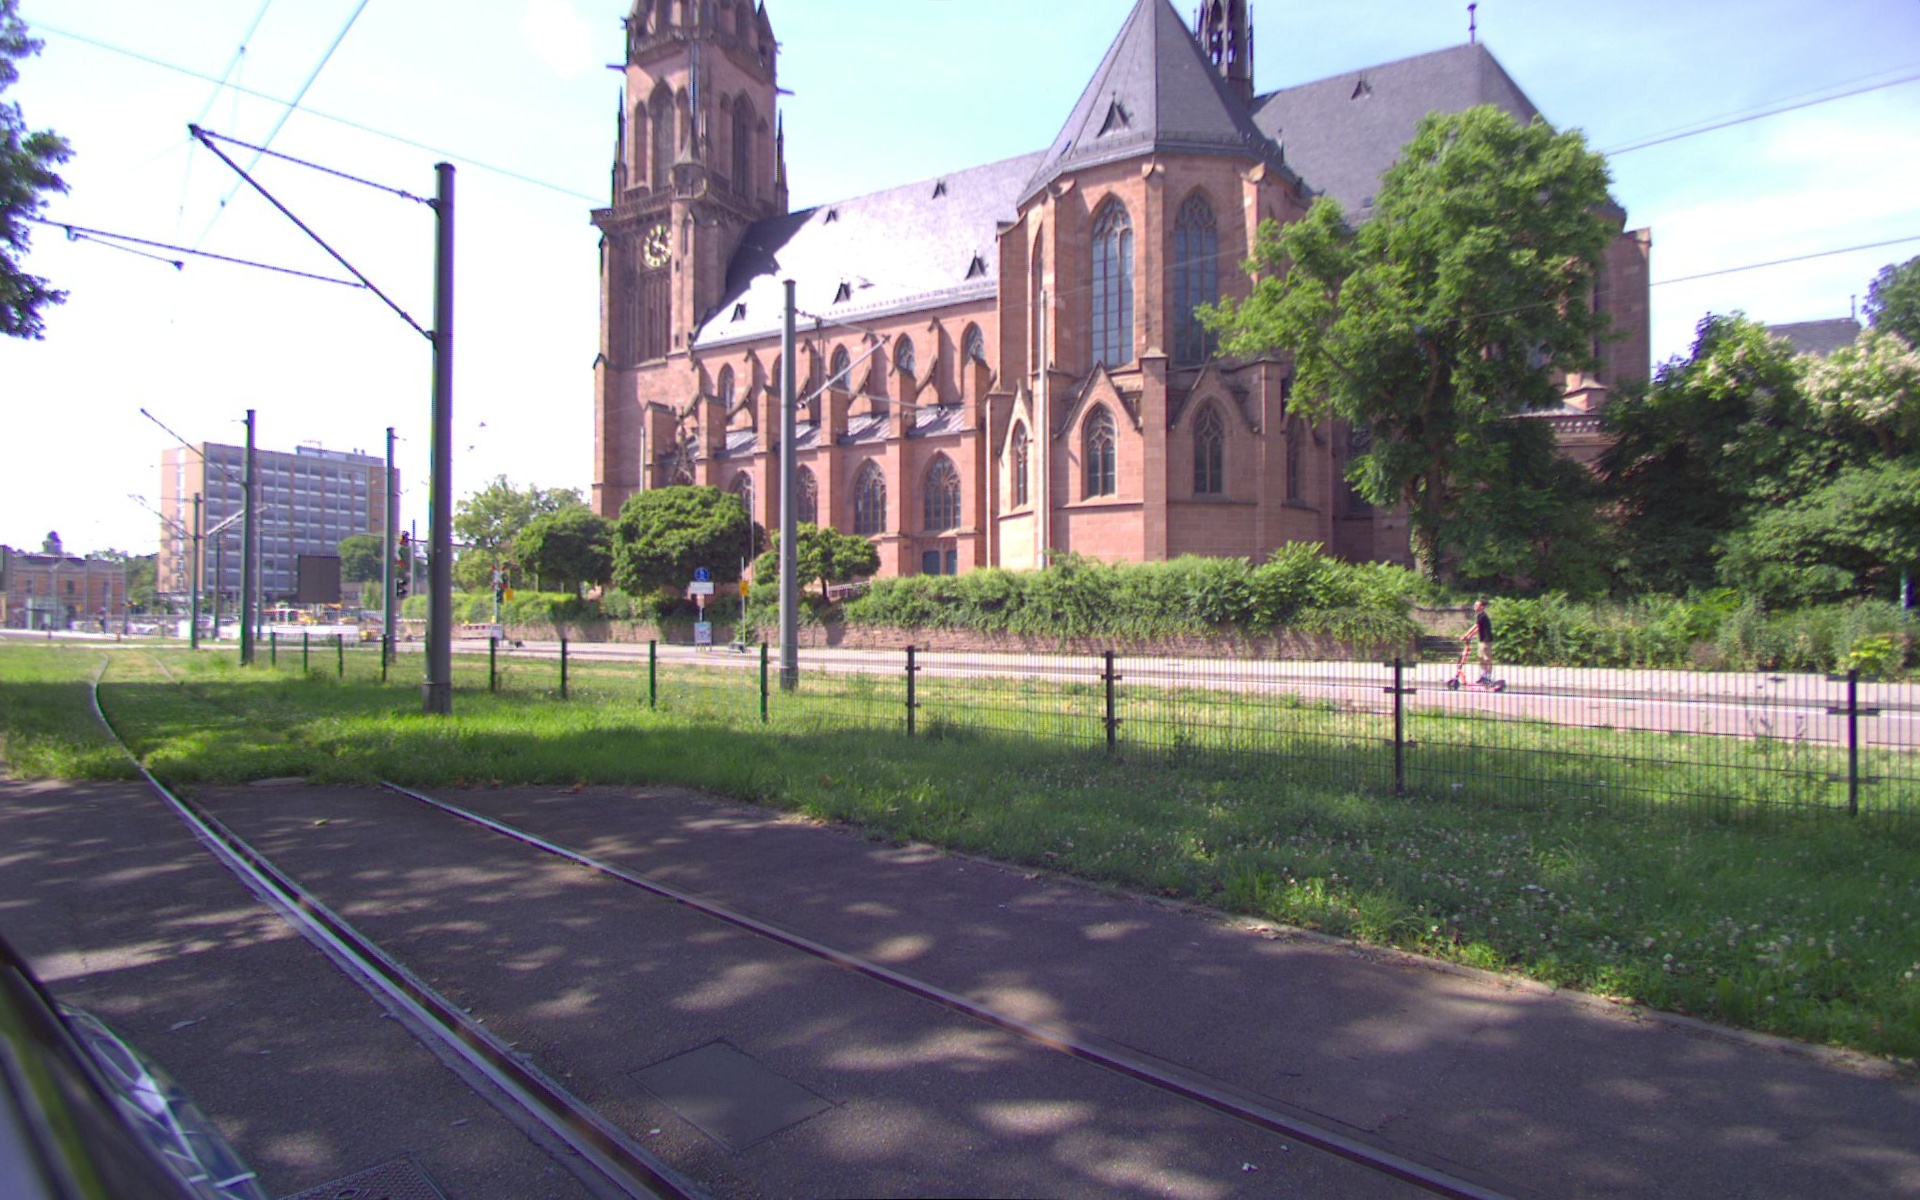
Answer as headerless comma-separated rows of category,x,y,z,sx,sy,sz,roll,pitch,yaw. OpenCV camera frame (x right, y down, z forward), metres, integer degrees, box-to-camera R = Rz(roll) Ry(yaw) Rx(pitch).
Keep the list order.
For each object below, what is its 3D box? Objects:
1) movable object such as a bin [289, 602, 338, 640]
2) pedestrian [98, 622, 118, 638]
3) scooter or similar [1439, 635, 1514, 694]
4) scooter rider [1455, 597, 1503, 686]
movable object such as a bin,-68.118,2.256,106.729,2.904,3.911,3.327,0,-2,8
pedestrian,-94.429,3.323,112.128,1.420,1.820,1.409,-1,-2,37
scooter or similar,11.222,1.382,22.009,0.646,1.213,1.274,1,-2,-34
scooter rider,11.256,0.895,21.949,0.653,1.881,0.671,1,-2,-34
